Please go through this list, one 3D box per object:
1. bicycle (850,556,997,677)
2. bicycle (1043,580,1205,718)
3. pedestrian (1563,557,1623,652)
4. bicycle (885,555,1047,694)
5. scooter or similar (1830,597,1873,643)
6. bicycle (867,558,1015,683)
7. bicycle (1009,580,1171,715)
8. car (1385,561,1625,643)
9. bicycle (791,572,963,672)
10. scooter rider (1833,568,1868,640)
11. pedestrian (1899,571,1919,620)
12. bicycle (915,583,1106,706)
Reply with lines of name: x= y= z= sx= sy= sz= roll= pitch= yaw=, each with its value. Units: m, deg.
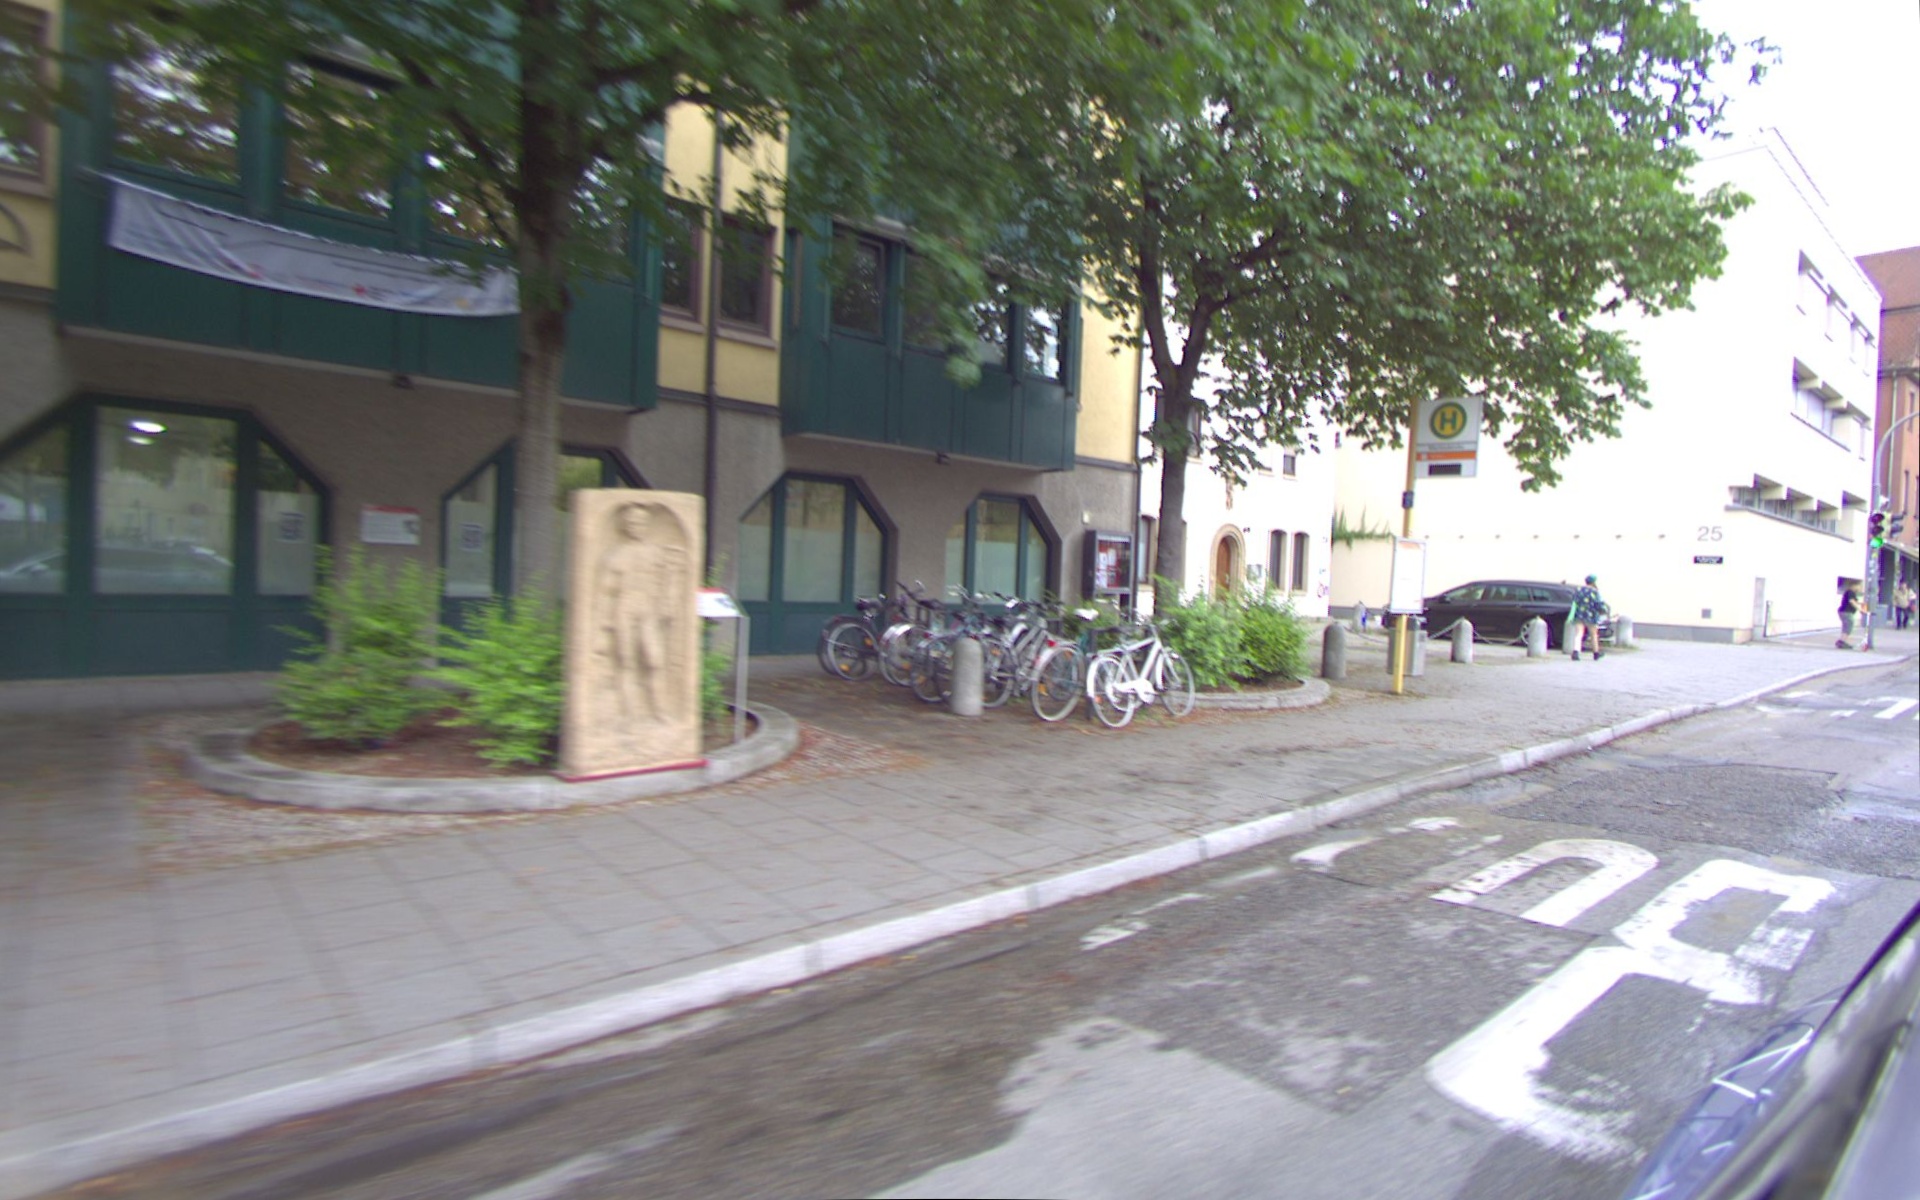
bicycle: x=-0.391 y=0.151 z=11.738 sx=1.925 sy=1.316 sz=0.333 roll=-2 pitch=2 yaw=-41
bicycle: x=1.562 y=0.401 z=9.387 sx=1.925 sy=1.155 sz=0.333 roll=-2 pitch=2 yaw=-41
pedestrian: x=11.957 y=0.073 z=19.121 sx=0.843 sy=1.736 sz=0.604 roll=0 pitch=2 yaw=-33
bicycle: x=0.102 y=0.206 z=10.359 sx=1.925 sy=1.316 sz=0.333 roll=-2 pitch=2 yaw=-41
scooter or similar: x=21.179 y=0.465 z=24.053 sx=0.661 sy=0.956 sz=0.808 roll=6 pitch=7 yaw=39
bicycle: x=-0.178 y=0.192 z=11.453 sx=1.925 sy=1.316 sz=0.333 roll=-2 pitch=2 yaw=-41
bicycle: x=1.268 y=0.398 z=9.580 sx=1.925 sy=1.155 sz=0.333 roll=-2 pitch=2 yaw=-41
car: x=12.494 y=-0.043 z=23.449 sx=1.820 sy=1.593 sz=4.522 roll=-2 pitch=4 yaw=-39
bicycle: x=-0.955 y=0.221 z=12.242 sx=2.254 sy=1.082 sz=0.545 roll=-2 pitch=4 yaw=-45
scooter rider: x=21.159 y=0.086 z=24.048 sx=0.451 sy=1.650 sz=0.499 roll=5 pitch=6 yaw=36
pedestrian: x=33.465 y=-0.155 z=35.421 sx=0.873 sy=1.669 sz=0.703 roll=0 pitch=3 yaw=-40
bicycle: x=0.564 y=0.390 z=10.271 sx=2.254 sy=1.082 sz=0.545 roll=-2 pitch=4 yaw=-45
